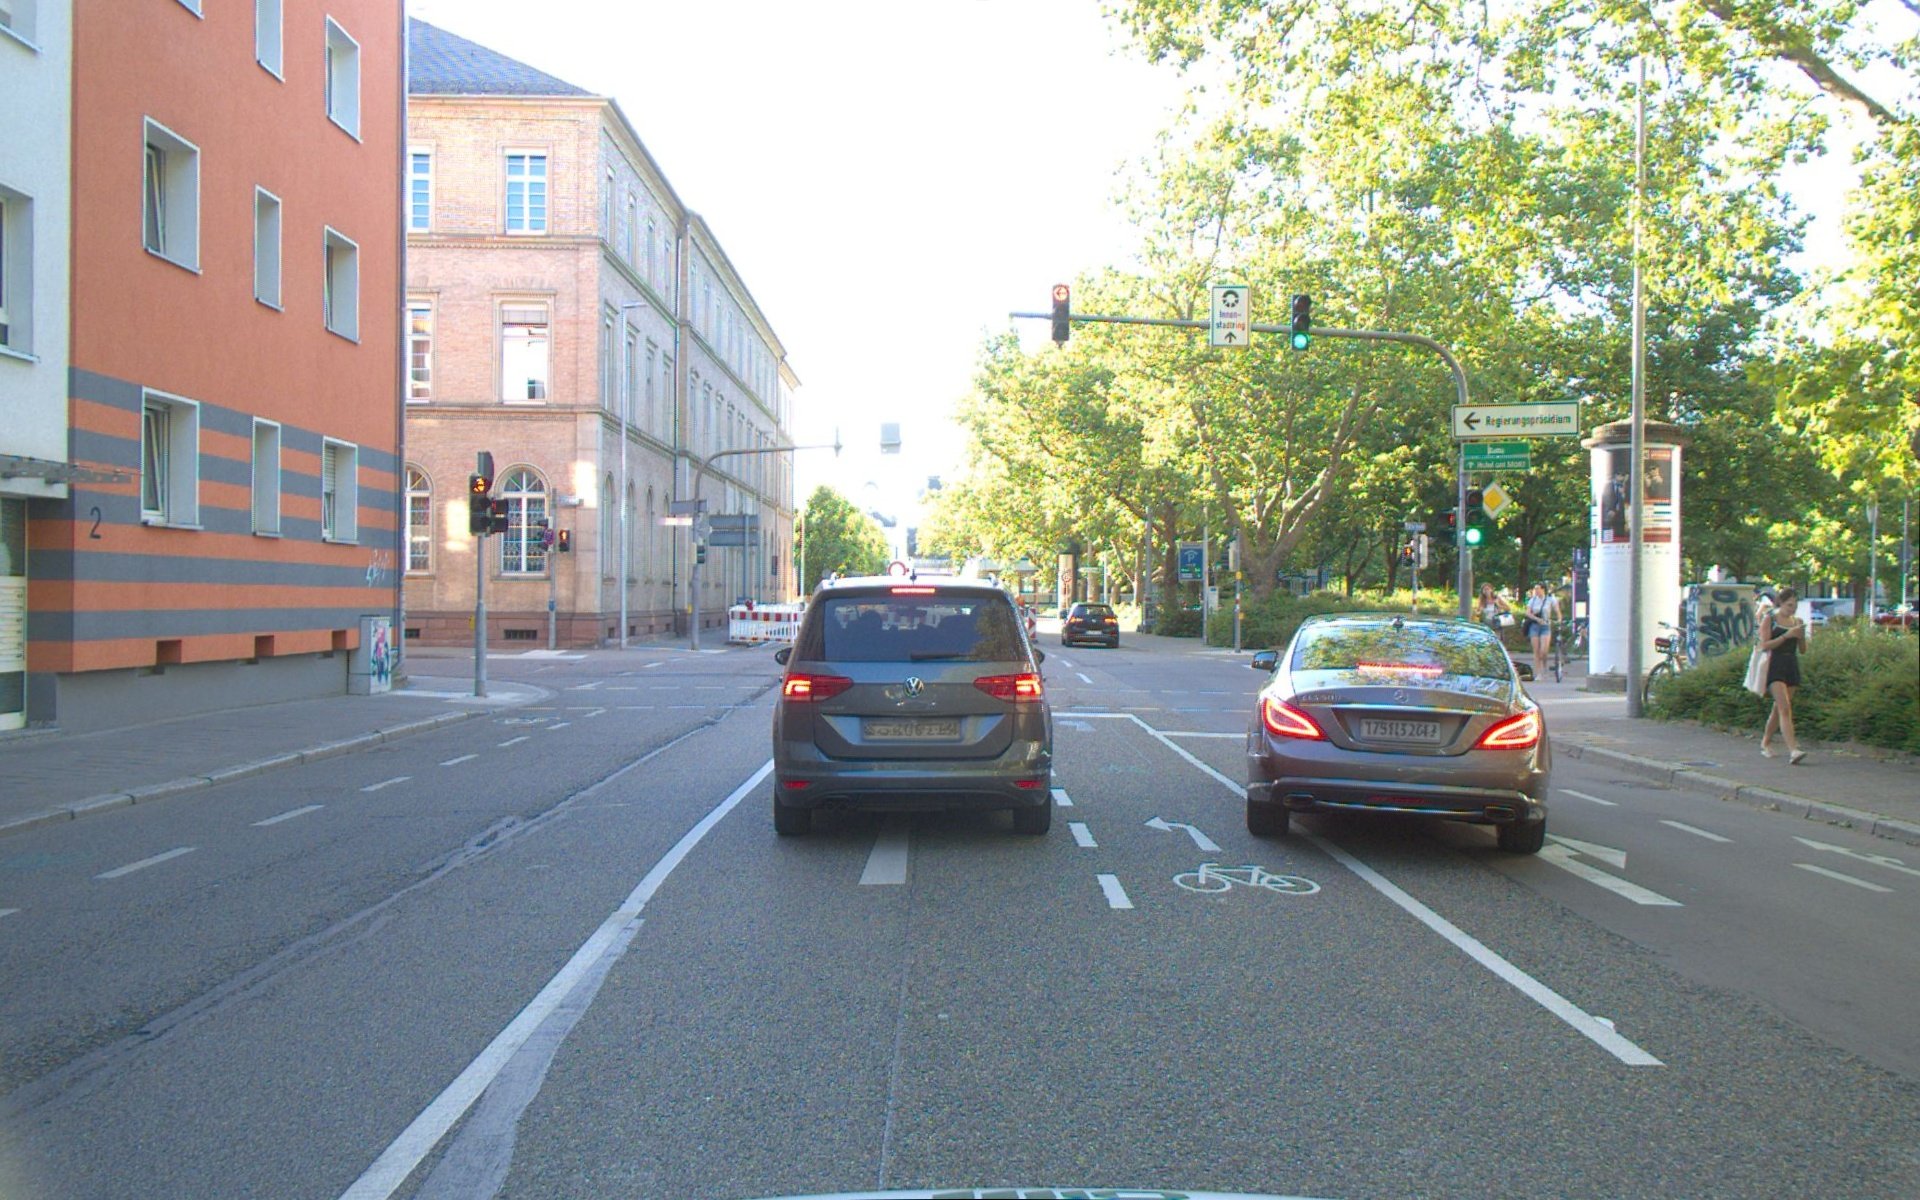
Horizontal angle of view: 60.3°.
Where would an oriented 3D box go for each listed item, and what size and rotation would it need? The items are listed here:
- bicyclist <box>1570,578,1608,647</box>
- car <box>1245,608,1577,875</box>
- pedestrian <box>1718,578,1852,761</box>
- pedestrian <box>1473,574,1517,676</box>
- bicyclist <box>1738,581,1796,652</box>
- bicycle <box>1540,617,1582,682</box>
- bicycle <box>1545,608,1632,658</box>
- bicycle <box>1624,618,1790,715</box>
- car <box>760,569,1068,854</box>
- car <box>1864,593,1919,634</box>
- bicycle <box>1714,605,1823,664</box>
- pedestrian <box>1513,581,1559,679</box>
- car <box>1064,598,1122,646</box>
[{"bbox_3d":[16.019,0.323,42.150,0.695,1.727,0.675,1,0,-1],"label":"bicyclist"},{"bbox_3d":[3.043,0.799,11.606,1.803,1.454,4.521,1,0,13],"label":"car"},{"bbox_3d":[7.785,0.635,15.651,0.782,1.659,0.907,-1,0,0],"label":"pedestrian"},{"bbox_3d":[9.799,0.456,30.297,0.716,1.840,0.909,-1,-1,16],"label":"pedestrian"},{"bbox_3d":[19.116,0.385,39.172,0.944,1.643,0.870,1,0,1],"label":"bicyclist"},{"bbox_3d":[10.799,0.869,29.748,0.513,1.119,1.742,1,0,14],"label":"bicycle"},{"bbox_3d":[15.993,0.840,42.122,1.989,1.242,0.599,1,0,-1],"label":"bicycle"},{"bbox_3d":[9.725,0.859,21.565,1.936,1.210,0.528,1,0,-2],"label":"bicycle"},{"bbox_3d":[-0.236,0.646,11.522,1.772,1.640,4.000,0,0,1],"label":"car"},{"bbox_3d":[36.286,0.527,62.959,1.596,1.508,3.794,1,0,-2],"label":"car"},{"bbox_3d":[19.117,0.801,39.142,2.242,1.349,0.660,1,0,0],"label":"bicycle"},{"bbox_3d":[10.401,0.527,29.871,0.668,1.727,0.971,1,0,14],"label":"pedestrian"},{"bbox_3d":[4.330,0.694,54.334,1.654,1.465,3.903,2,0,2],"label":"car"}]
